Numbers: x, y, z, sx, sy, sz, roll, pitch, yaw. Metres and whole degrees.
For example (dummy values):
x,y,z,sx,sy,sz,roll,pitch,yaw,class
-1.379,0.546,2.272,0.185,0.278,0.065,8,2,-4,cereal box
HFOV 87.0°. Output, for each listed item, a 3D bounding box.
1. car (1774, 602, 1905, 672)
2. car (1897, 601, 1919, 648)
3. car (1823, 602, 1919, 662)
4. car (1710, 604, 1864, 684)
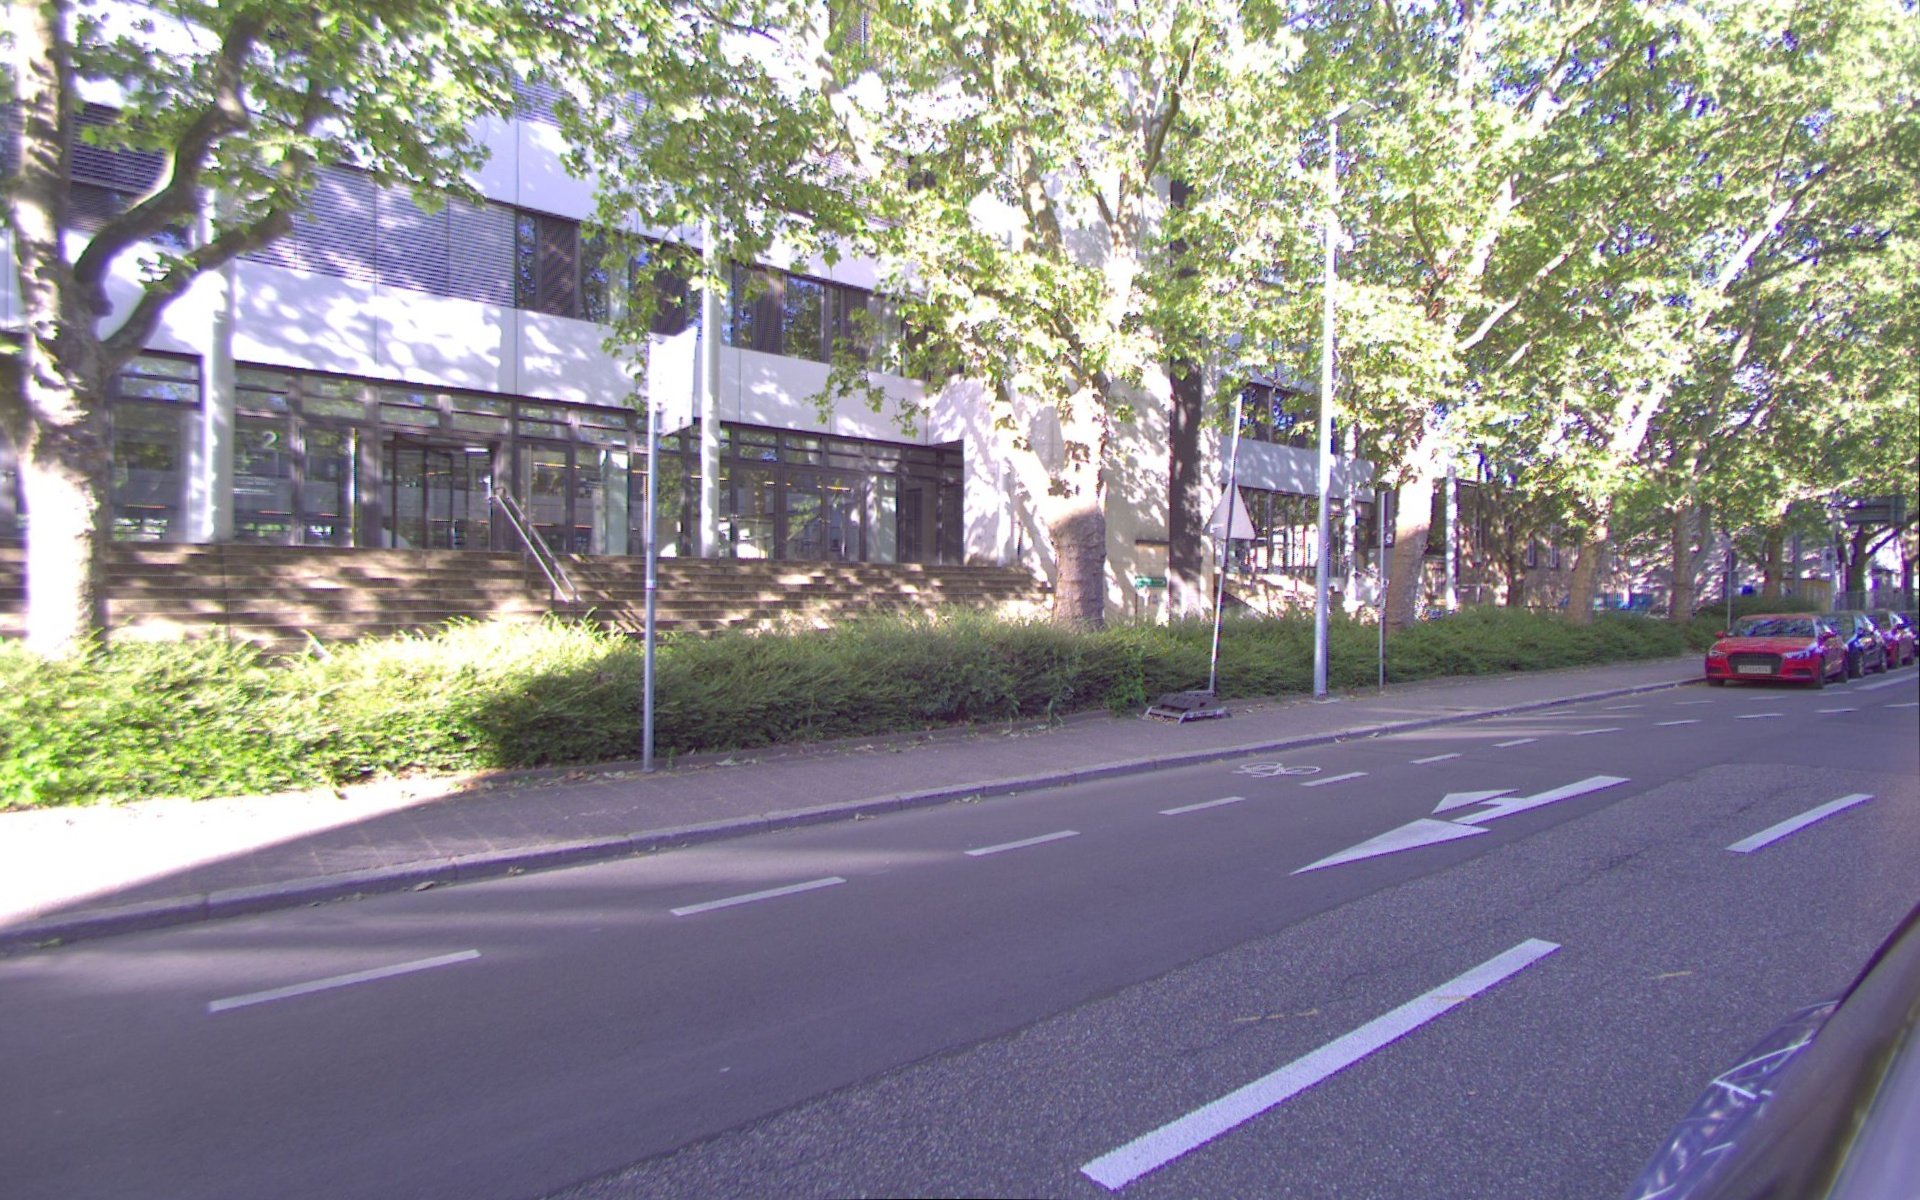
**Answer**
x,y,z,sx,sy,sz,roll,pitch,yaw,class
20.294,0.794,23.299,3.929,1.486,1.685,0,-1,-40,car
31.674,0.776,32.635,3.929,1.469,1.685,0,0,-40,car
24.158,0.777,26.619,3.714,1.452,1.665,0,0,-40,car
16.674,0.835,20.340,3.960,1.439,1.722,0,-2,-41,car
